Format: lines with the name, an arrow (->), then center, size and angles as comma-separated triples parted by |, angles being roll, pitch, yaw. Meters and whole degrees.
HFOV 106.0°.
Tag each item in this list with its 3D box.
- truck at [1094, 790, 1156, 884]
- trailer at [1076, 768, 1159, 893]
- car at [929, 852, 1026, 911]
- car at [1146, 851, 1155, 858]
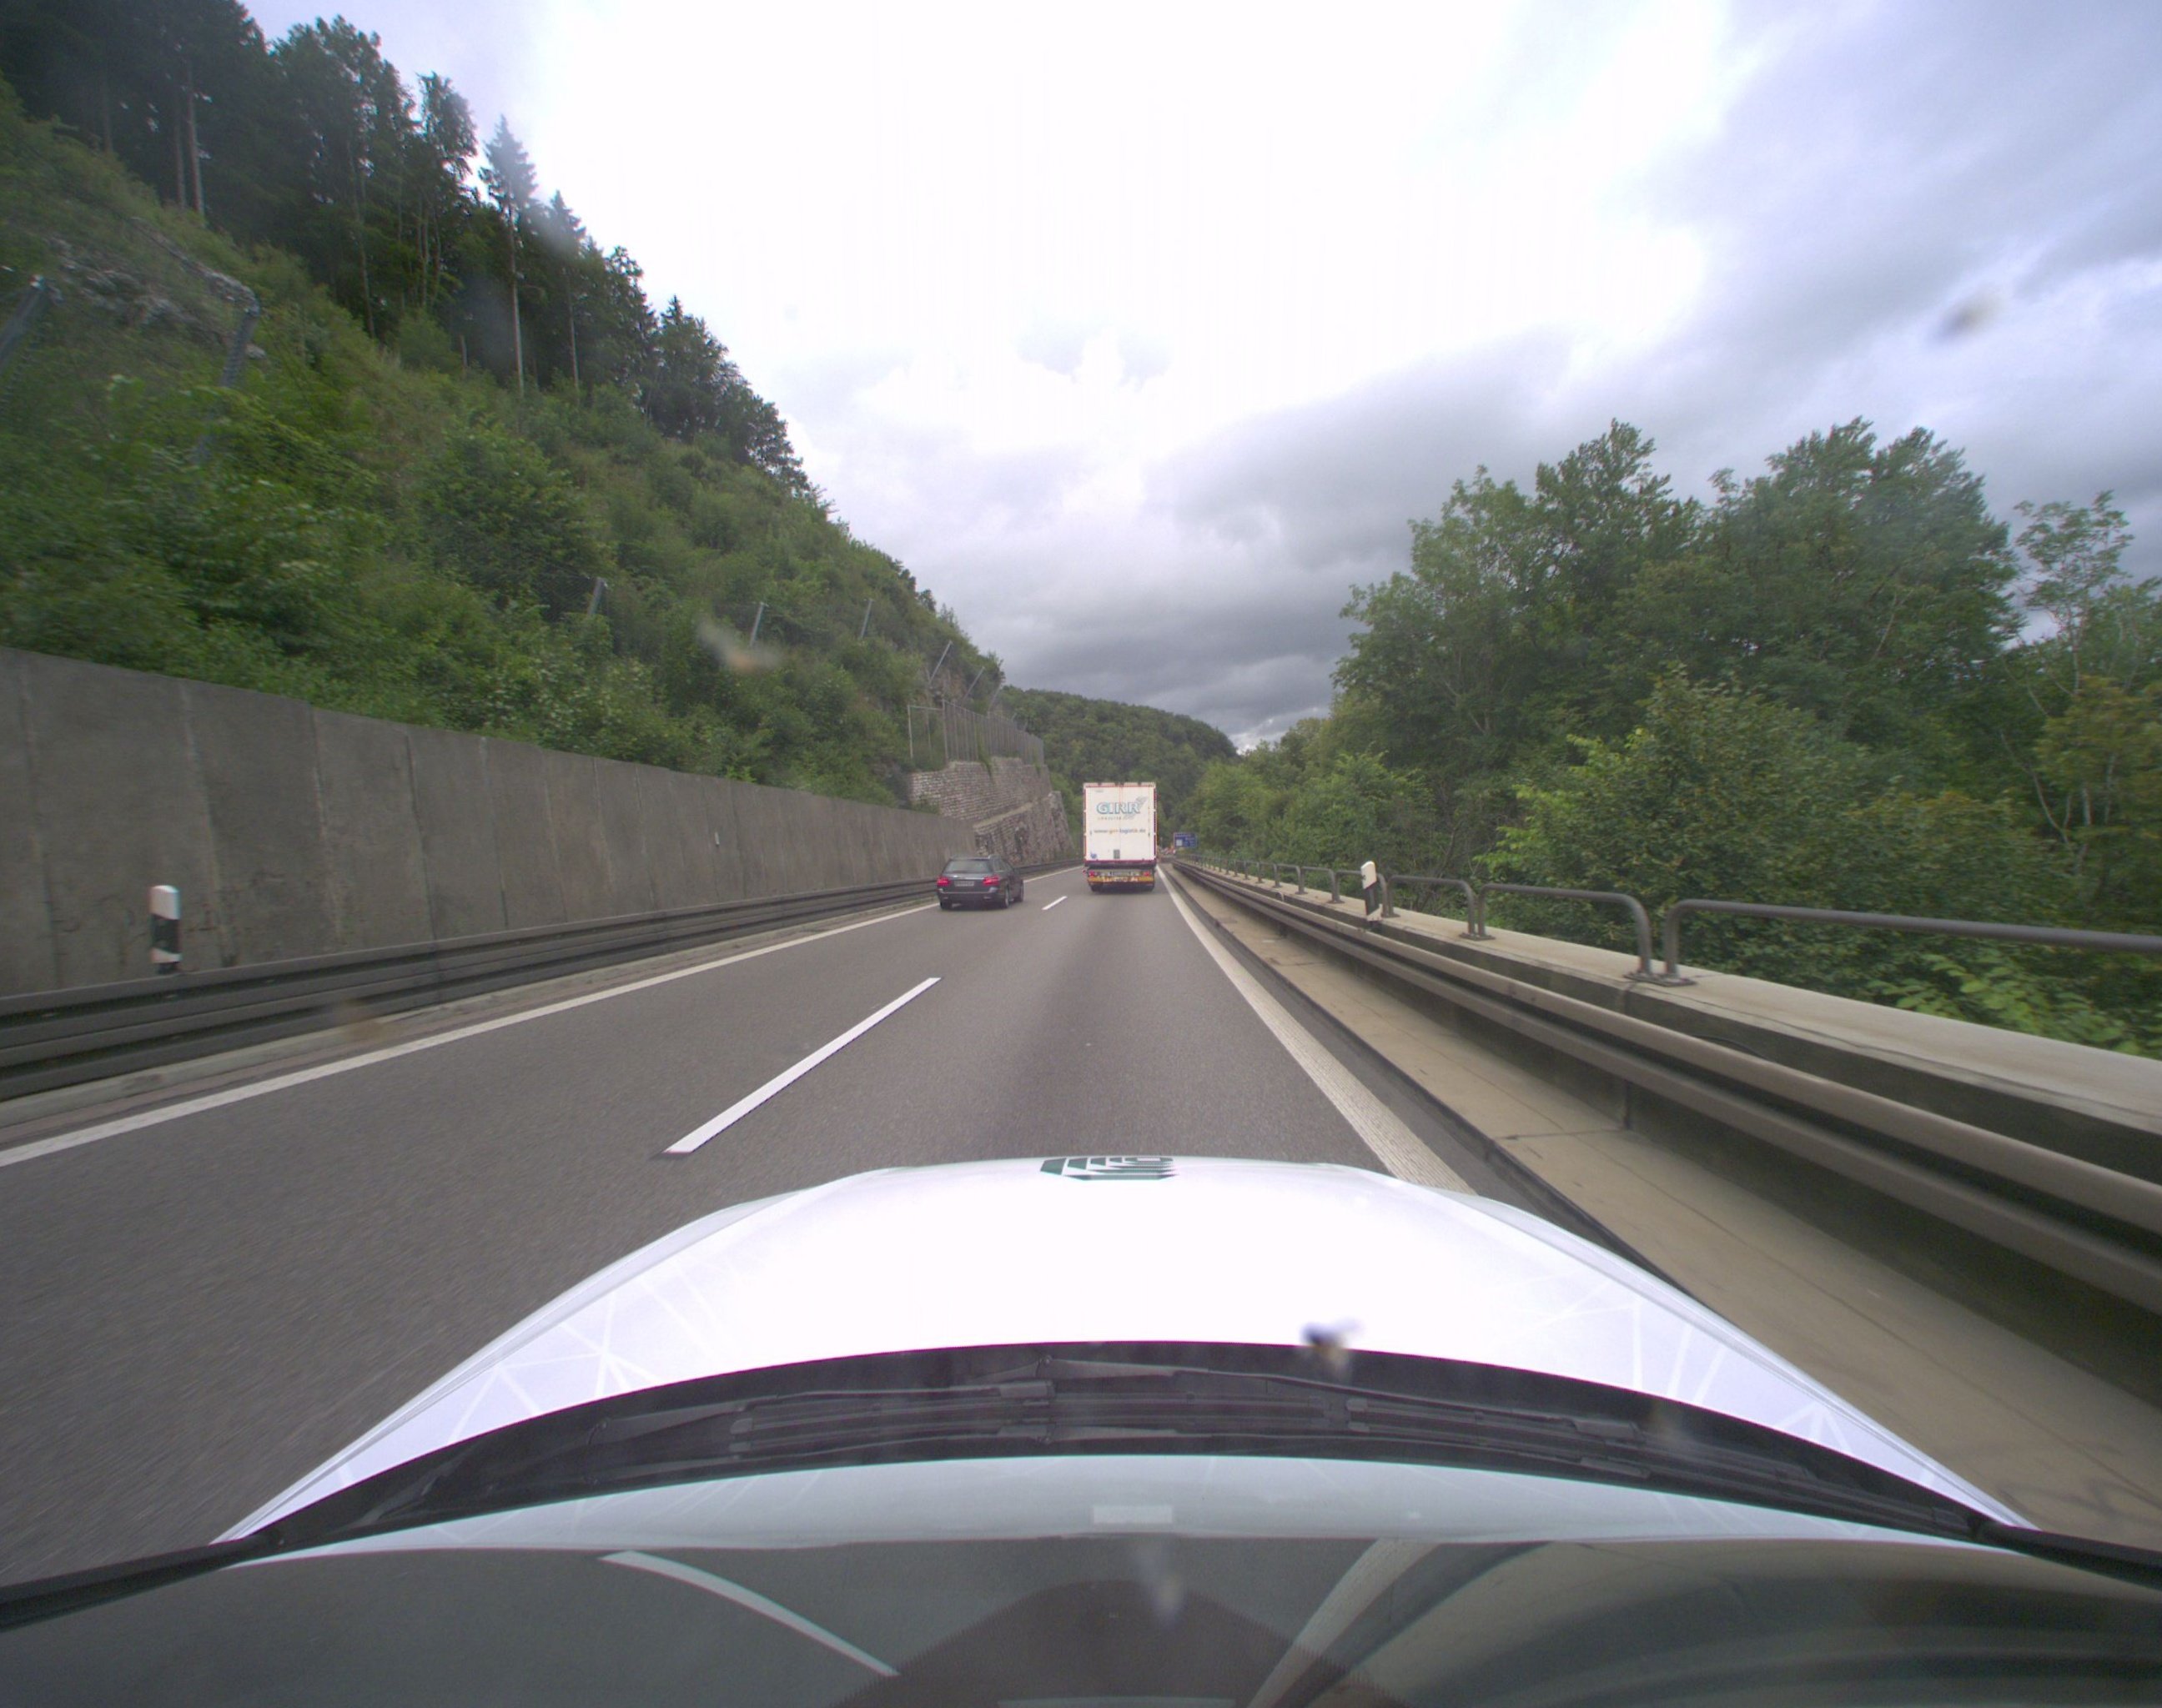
truck -> 2.294, -0.752, 40.829 | 2.800, 4.302, 6.267 | -1, 0, 5
trailer -> 1.781, -0.779, 34.377 | 2.800, 4.302, 12.260 | -1, 0, 5
car -> -2.846, 0.735, 23.323 | 1.875, 1.510, 4.424 | -1, 0, 4
car -> 18.383, 0.212, 214.666 | 1.982, 1.764, 4.009 | -1, 0, 8
